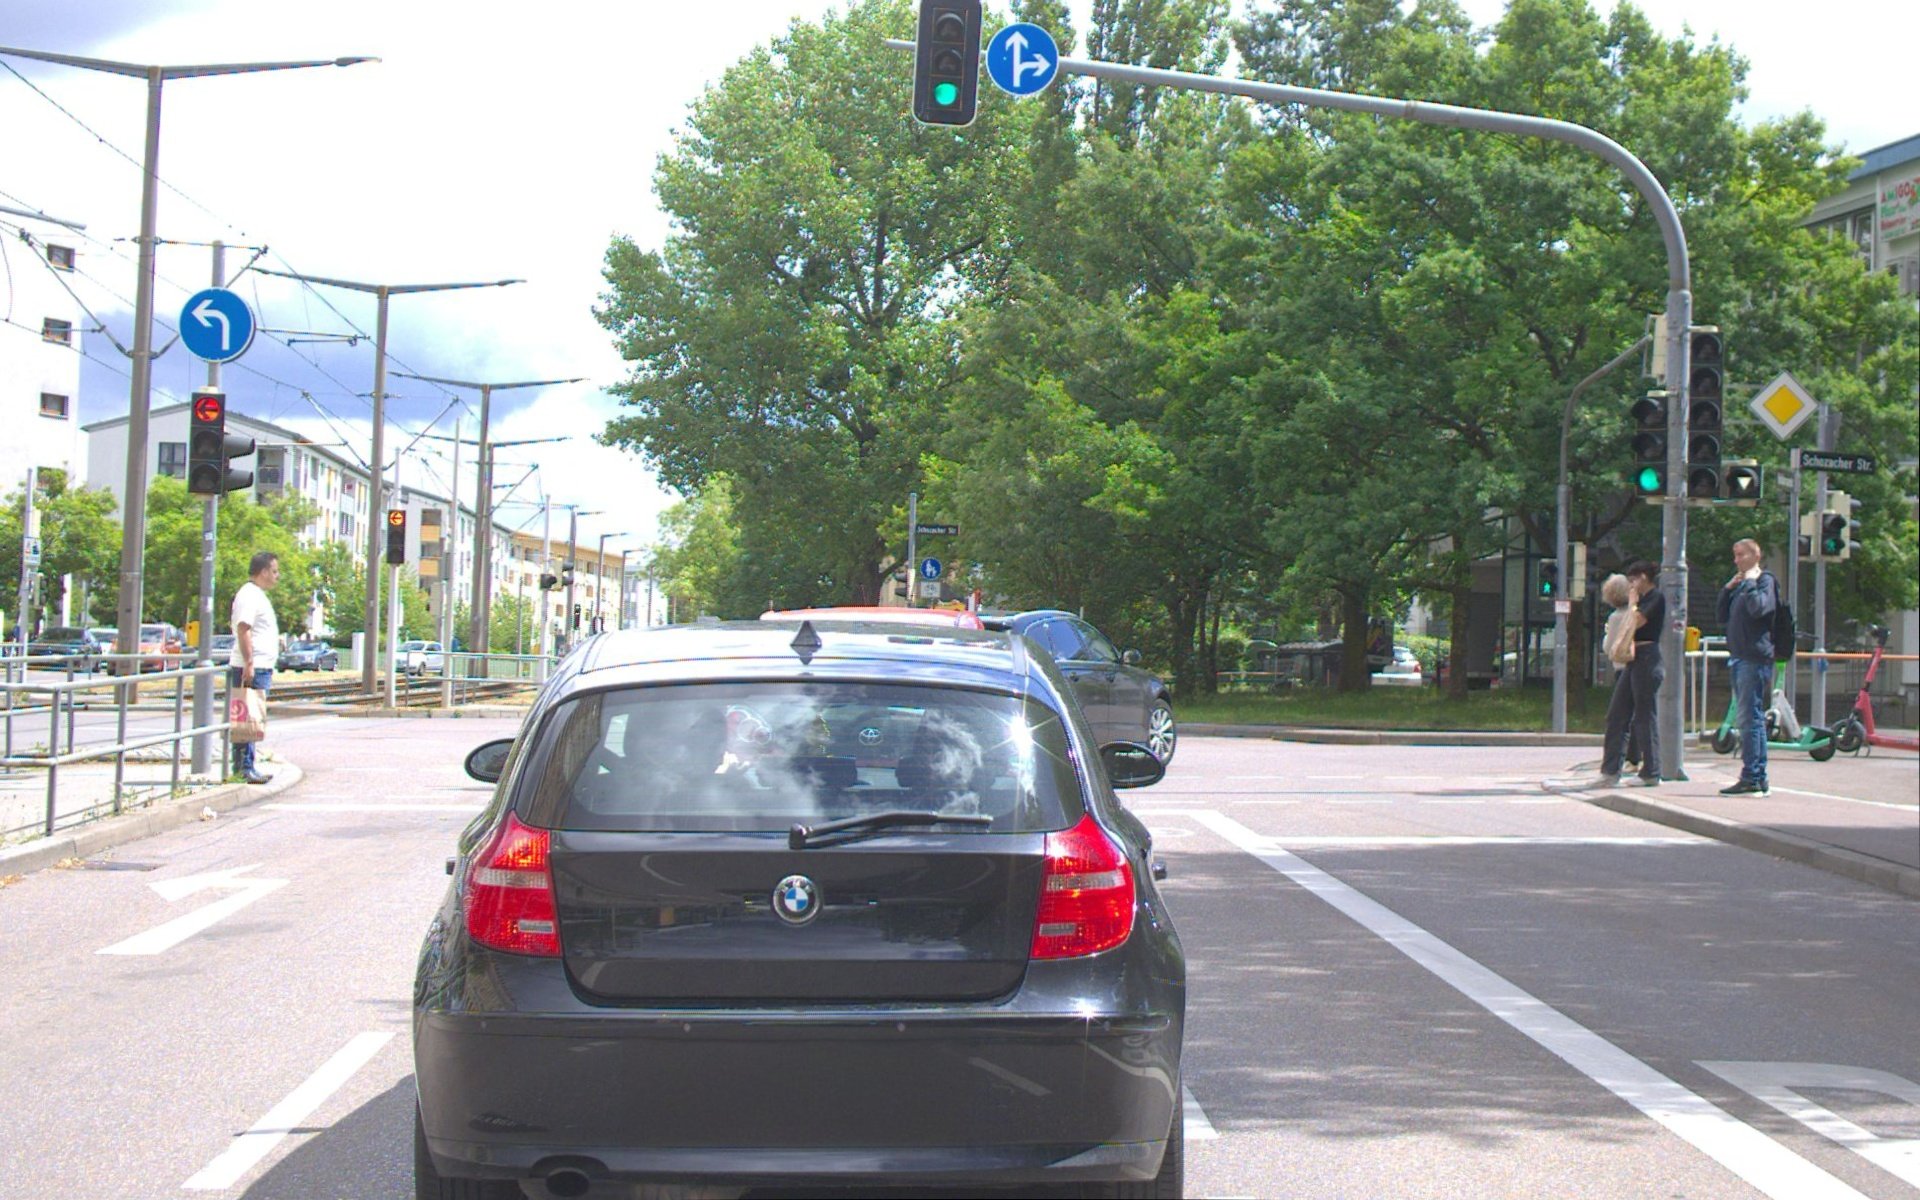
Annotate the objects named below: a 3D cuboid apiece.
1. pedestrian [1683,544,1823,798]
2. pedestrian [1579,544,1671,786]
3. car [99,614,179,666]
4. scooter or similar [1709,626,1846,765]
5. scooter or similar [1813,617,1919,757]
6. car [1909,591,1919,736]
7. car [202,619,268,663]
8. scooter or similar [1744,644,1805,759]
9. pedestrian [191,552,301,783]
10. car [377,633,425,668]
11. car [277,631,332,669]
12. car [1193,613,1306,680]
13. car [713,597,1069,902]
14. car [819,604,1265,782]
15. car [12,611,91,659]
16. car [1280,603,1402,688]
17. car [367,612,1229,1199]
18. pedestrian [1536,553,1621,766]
[{"bbox_3d":[5.985,0.526,25.992,0.795,1.870,1.013,1,0,0],"label":"pedestrian"},{"bbox_3d":[5.230,0.504,27.044,0.636,1.870,0.518,1,0,6],"label":"pedestrian"},{"bbox_3d":[-25.384,1.216,106.434,1.651,1.529,3.872,1,0,-2],"label":"car"},{"bbox_3d":[7.434,0.867,31.295,1.110,1.231,0.539,1,0,2],"label":"scooter or similar"},{"bbox_3d":[8.672,0.818,32.273,1.150,1.268,0.555,2,0,2],"label":"scooter or similar"},{"bbox_3d":[15.638,0.920,47.289,4.534,2.007,2.000,1,0,-7],"label":"car"},{"bbox_3d":[-26.227,1.471,124.413,1.651,1.529,3.872,1,0,-2],"label":"car"},{"bbox_3d":[7.891,0.972,33.315,0.548,1.060,1.261,1,0,13],"label":"scooter or similar"},{"bbox_3d":[-5.414,0.504,26.083,0.687,1.728,0.687,0,0,-1],"label":"pedestrian"},{"bbox_3d":[-25.564,2.284,157.318,1.651,1.529,3.872,1,0,-2],"label":"car"},{"bbox_3d":[-27.423,2.092,143.864,1.651,1.529,3.872,1,0,-2],"label":"car"},{"bbox_3d":[7.475,1.187,89.098,1.862,1.656,4.001,1,0,-11],"label":"car"},{"bbox_3d":[-0.337,0.697,17.742,1.638,1.395,3.420,1,0,-1],"label":"car"},{"bbox_3d":[0.820,0.773,30.315,1.904,1.417,4.530,1,0,31],"label":"car"},{"bbox_3d":[-29.151,1.120,110.401,1.591,1.469,3.775,1,0,-2],"label":"car"},{"bbox_3d":[8.642,1.014,78.259,1.726,1.865,4.001,1,0,-9],"label":"car"},{"bbox_3d":[-0.340,0.750,8.559,1.700,1.395,3.420,1,0,-1],"label":"car"},{"bbox_3d":[5.190,0.495,28.863,0.636,1.760,0.518,1,0,6],"label":"pedestrian"}]
